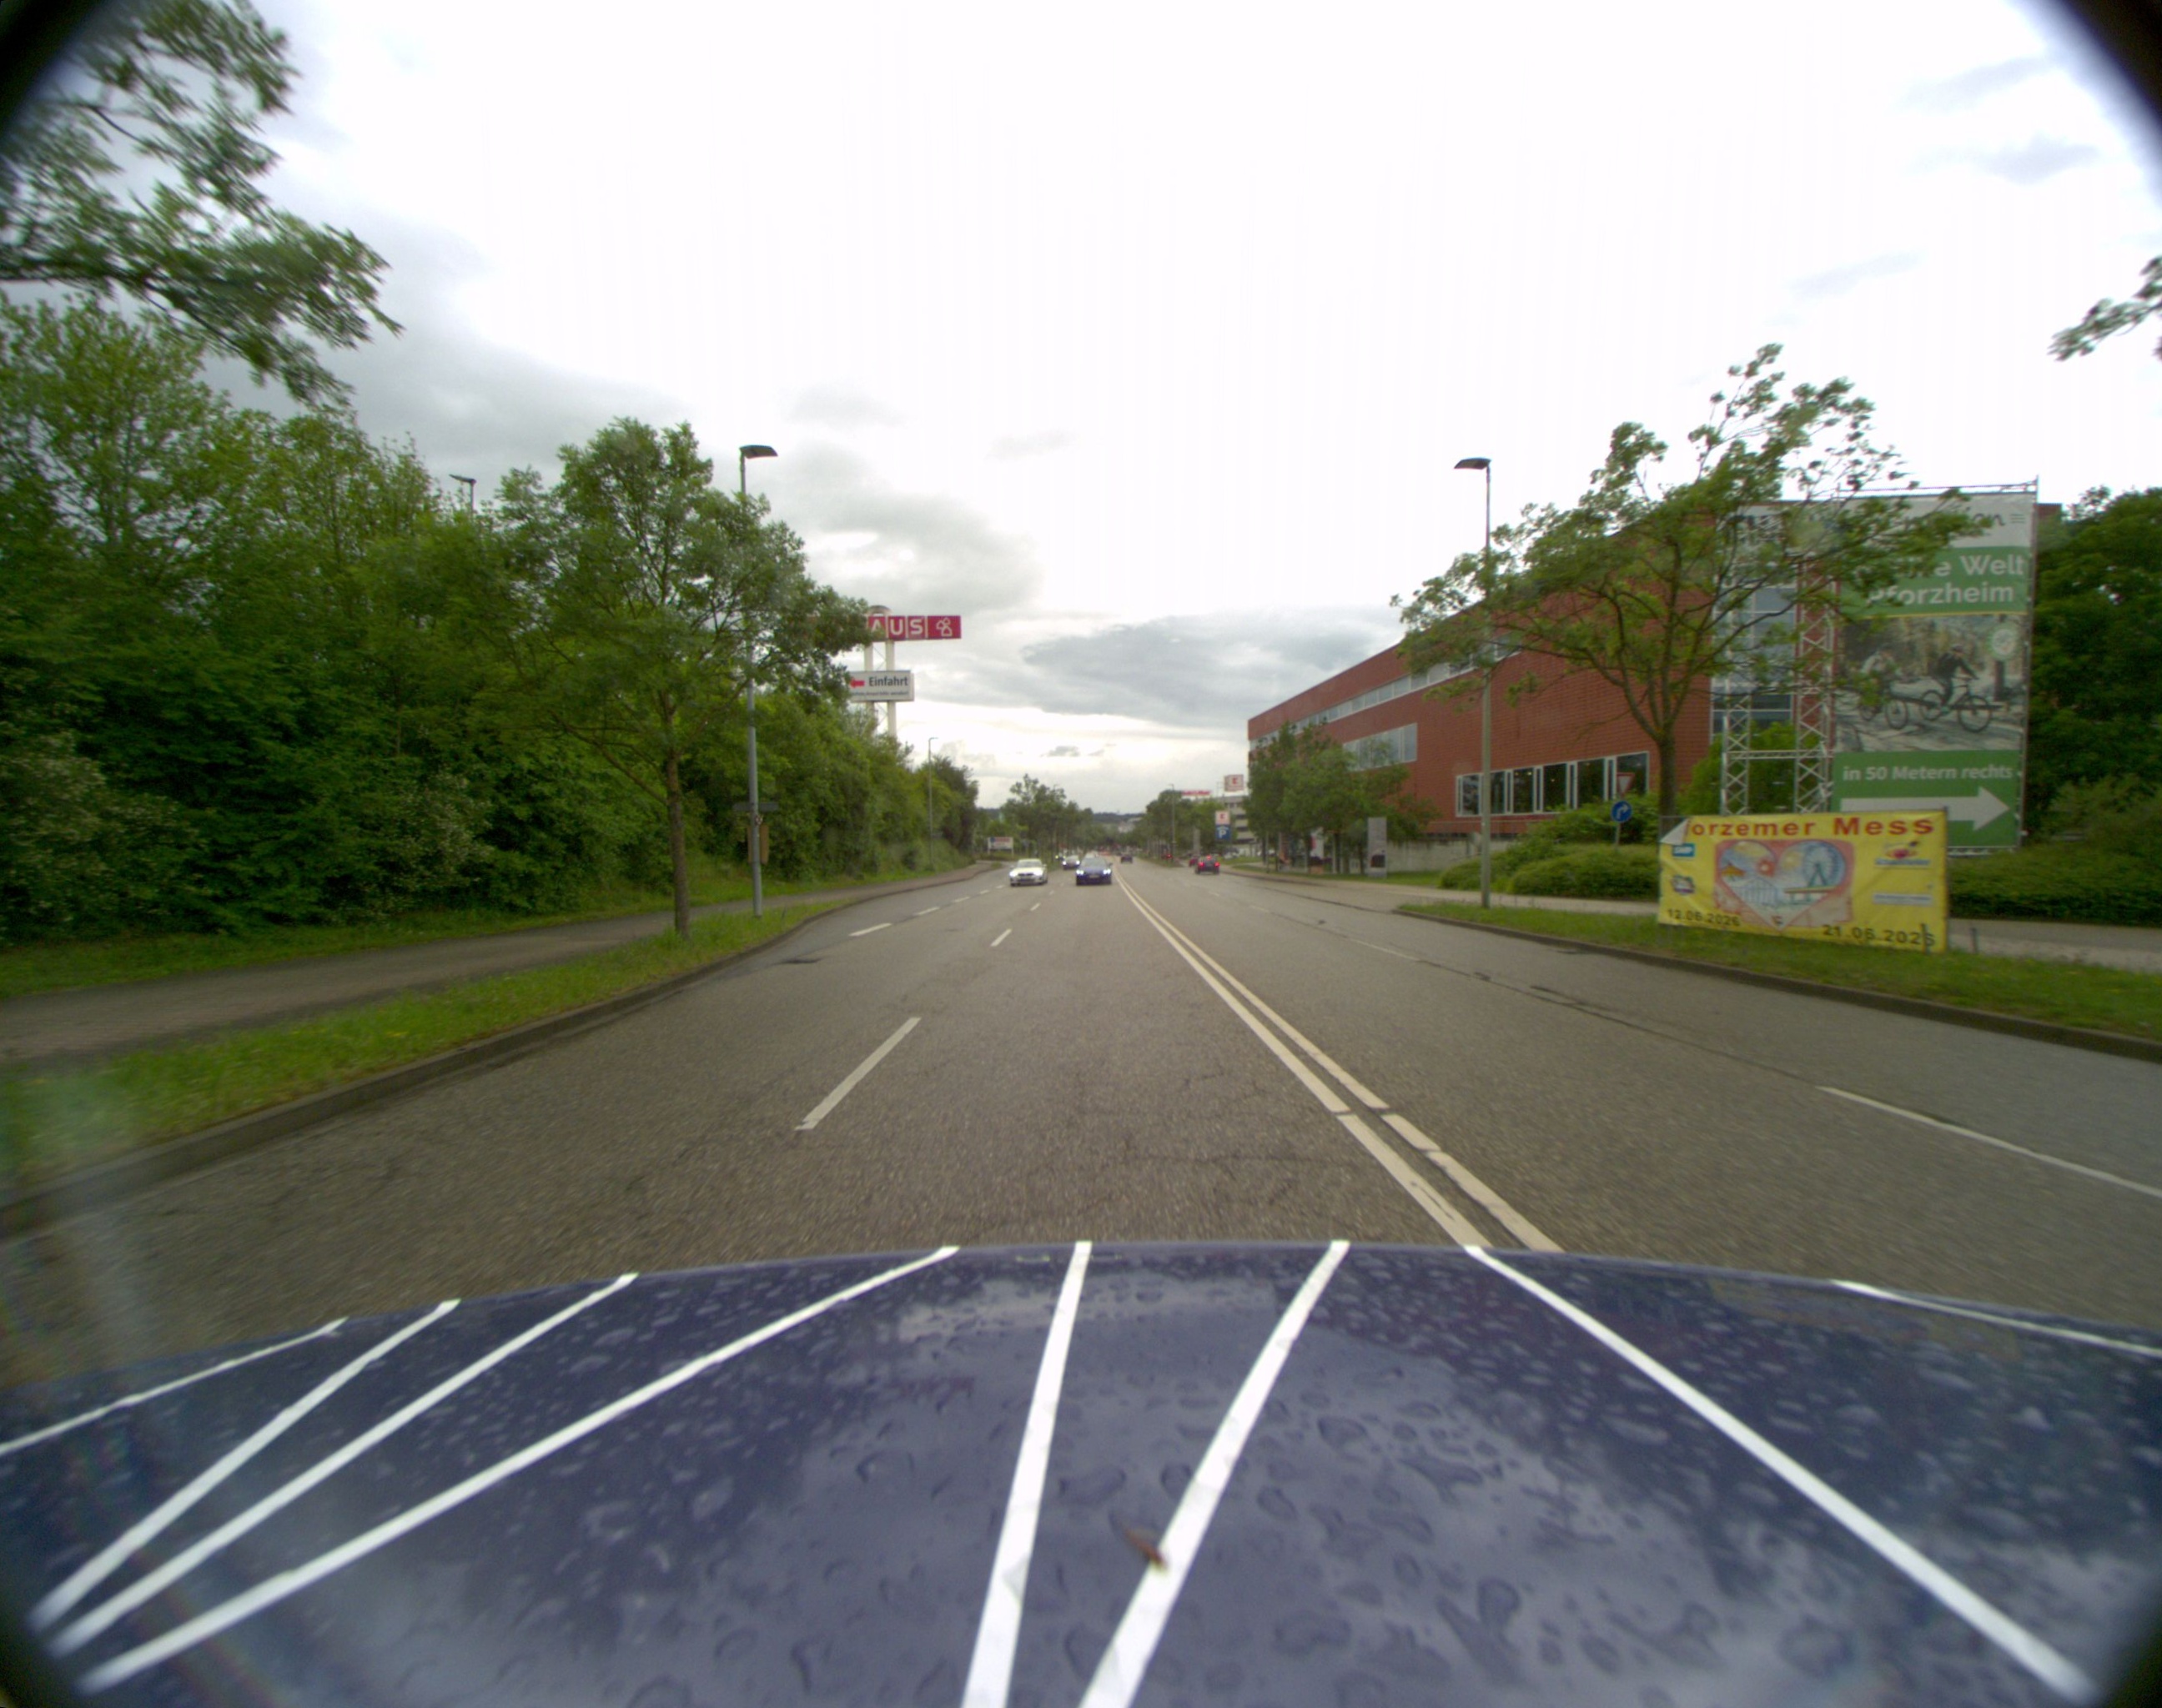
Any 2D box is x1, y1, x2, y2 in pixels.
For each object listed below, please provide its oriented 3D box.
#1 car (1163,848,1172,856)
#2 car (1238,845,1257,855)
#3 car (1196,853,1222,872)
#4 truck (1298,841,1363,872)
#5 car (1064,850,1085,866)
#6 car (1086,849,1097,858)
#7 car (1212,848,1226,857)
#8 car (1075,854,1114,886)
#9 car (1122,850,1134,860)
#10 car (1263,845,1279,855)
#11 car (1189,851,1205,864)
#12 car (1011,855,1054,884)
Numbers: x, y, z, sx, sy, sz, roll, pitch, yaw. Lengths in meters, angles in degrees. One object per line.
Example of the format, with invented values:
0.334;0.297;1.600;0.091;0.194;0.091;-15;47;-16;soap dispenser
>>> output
18.831;-0.522;164.862;1.832;1.608;4.002;-2;0;7;car
27.297;-0.673;124.609;1.834;1.608;4.436;-1;1;-5;car
10.652;0.695;63.488;1.740;1.445;4.001;1;0;5;car
26.290;0.236;80.241;6.152;3.289;2.023;0;2;-4;truck
-0.647;0.430;82.542;2.114;1.610;4.840;-1;0;2;car
2.063;-0.134;144.343;1.853;1.565;3.998;-2;2;-2;car
26.061;-0.303;143.737;1.833;1.608;4.062;-1;1;-1;car
0.719;0.779;39.480;1.827;1.473;4.840;-2;0;2;car
7.505;0.201;121.227;1.863;1.568;4.321;1;0;2;car
27.201;-0.546;108.772;1.509;1.276;3.450;-2;1;2;car
14.222;0.448;93.211;1.679;1.498;4.217;0;0;4;car
-2.687;0.864;42.953;1.863;1.473;4.001;-1;0;4;car
